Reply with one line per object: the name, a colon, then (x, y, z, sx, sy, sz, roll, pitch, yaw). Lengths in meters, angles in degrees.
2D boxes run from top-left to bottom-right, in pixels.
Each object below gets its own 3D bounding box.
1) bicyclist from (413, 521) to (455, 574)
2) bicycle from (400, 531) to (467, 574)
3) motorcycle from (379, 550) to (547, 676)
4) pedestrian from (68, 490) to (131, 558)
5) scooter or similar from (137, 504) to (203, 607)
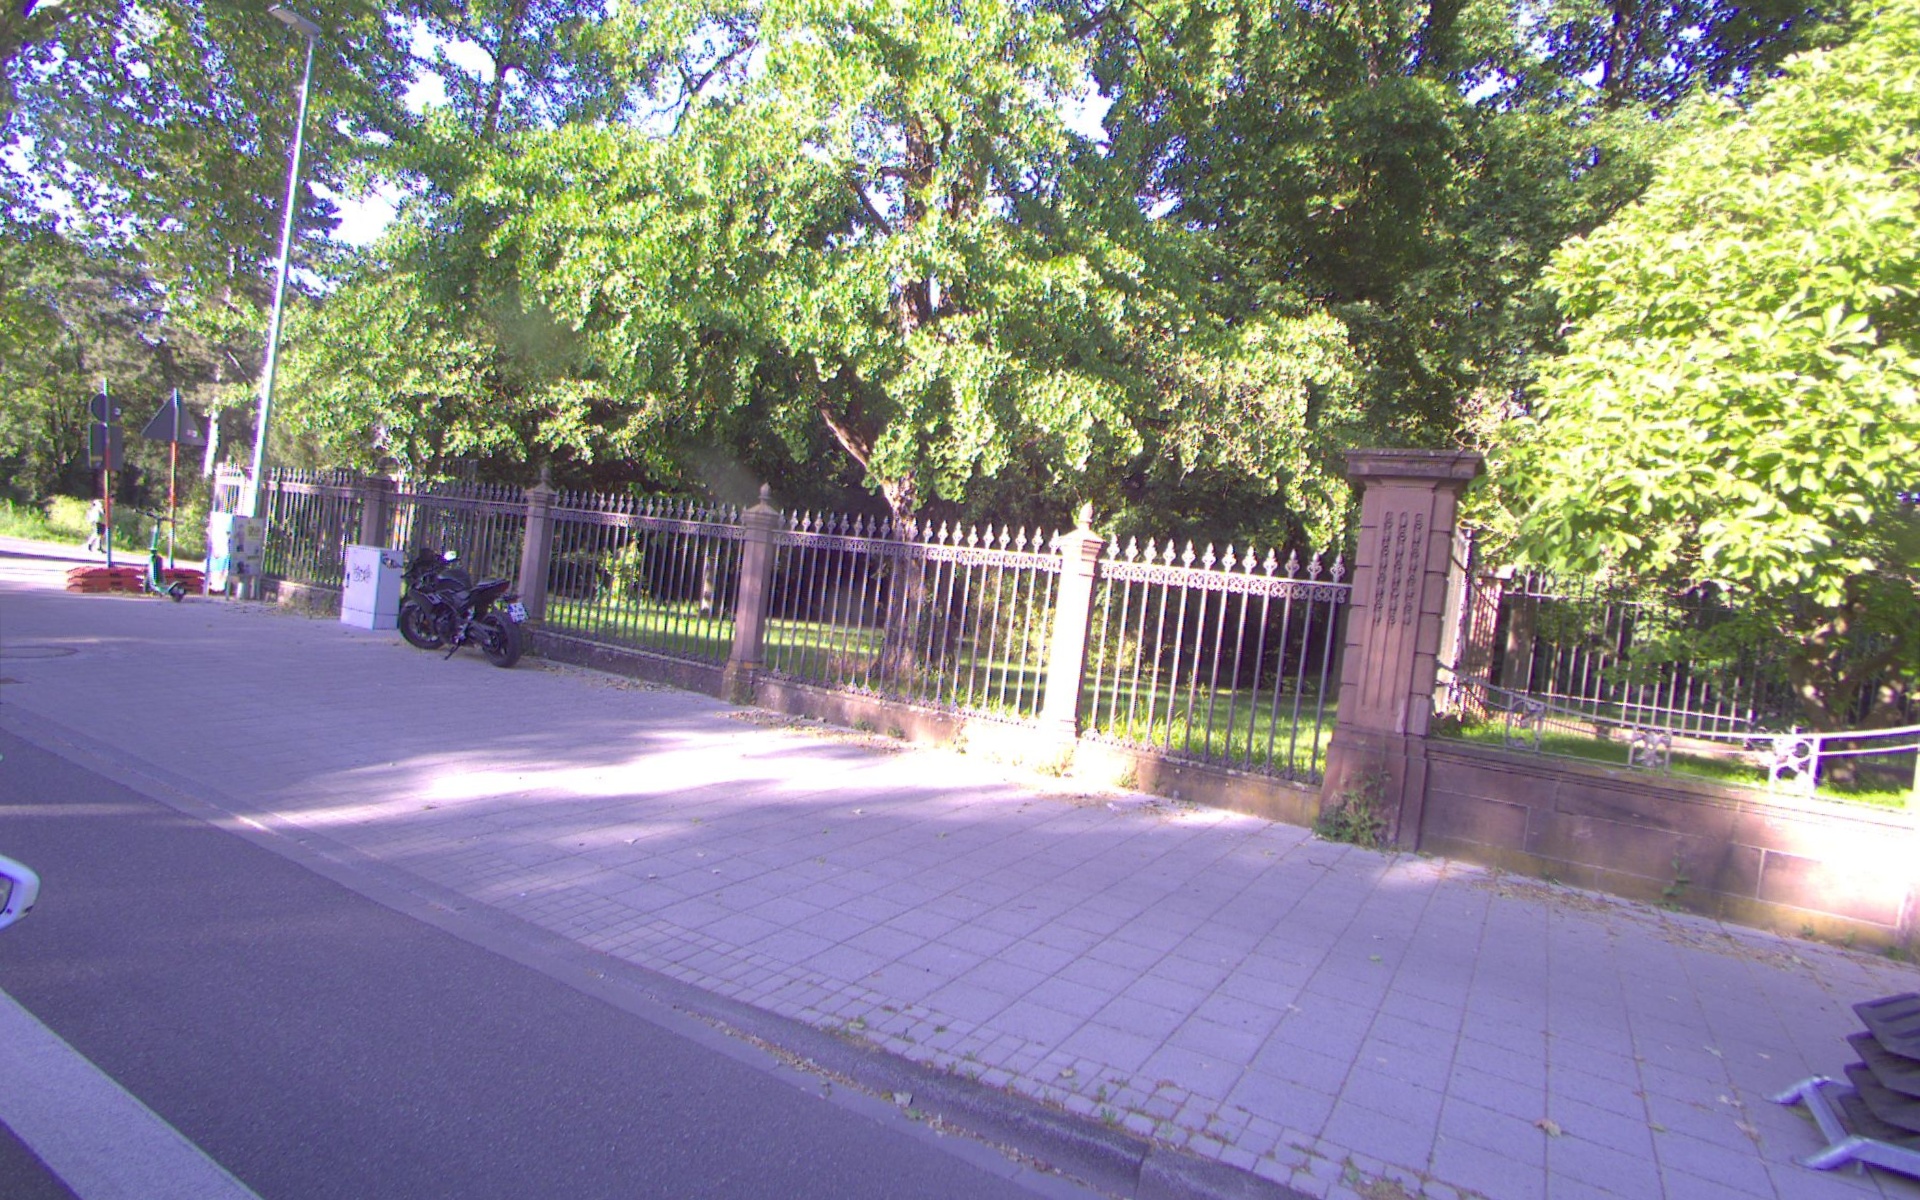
bicyclist: (-15.608, -1.548, 29.839, 0.657, 1.448, 0.781, 7, -1, 42)
bicycle: (-15.619, -1.395, 29.873, 0.468, 1.026, 1.615, 7, -1, 41)
motorcycle: (-5.512, 0.123, 11.090, 2.134, 1.146, 0.506, 7, 2, 30)
pedestrian: (-21.409, -1.893, 25.045, 0.901, 1.536, 0.819, 7, -1, 31)
scooter or similar: (-11.127, -0.638, 14.160, 1.152, 1.344, 0.228, 7, 2, 30)
